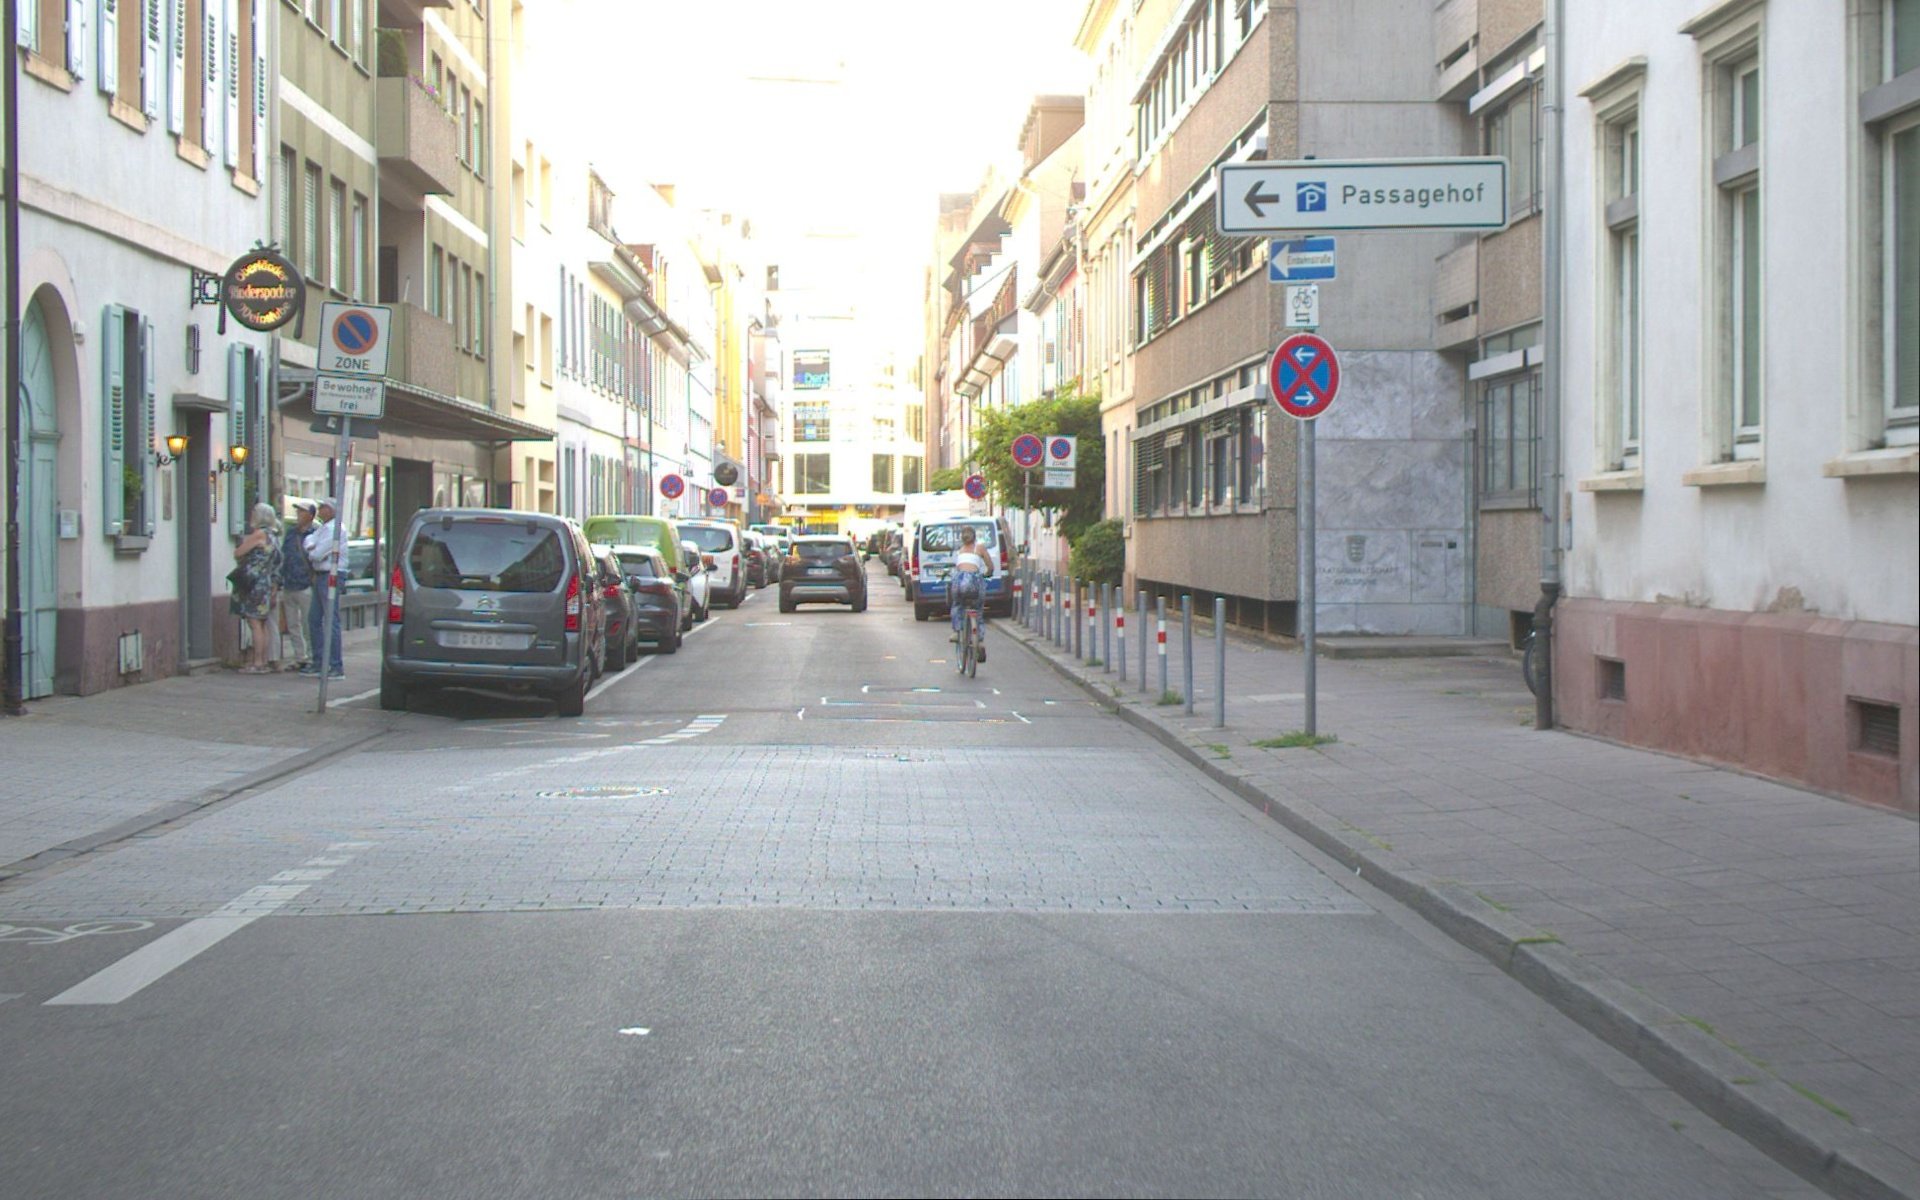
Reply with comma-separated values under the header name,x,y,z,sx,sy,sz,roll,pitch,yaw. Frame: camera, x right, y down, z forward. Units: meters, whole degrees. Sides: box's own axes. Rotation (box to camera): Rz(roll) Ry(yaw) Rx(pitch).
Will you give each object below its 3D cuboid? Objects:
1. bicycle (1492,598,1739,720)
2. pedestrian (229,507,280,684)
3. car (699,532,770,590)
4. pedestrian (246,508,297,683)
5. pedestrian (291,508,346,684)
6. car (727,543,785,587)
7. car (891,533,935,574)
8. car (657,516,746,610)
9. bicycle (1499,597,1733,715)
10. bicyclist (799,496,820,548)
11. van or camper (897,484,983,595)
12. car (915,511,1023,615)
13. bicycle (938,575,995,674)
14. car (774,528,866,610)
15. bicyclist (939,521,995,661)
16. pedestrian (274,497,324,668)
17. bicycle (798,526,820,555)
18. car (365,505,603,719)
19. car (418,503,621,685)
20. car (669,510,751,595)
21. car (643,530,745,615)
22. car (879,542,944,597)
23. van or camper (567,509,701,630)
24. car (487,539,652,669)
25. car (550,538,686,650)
name,x,y,z,sx,sy,sz,roll,pitch,yaw
bicycle,5.067,0.455,26.599,1.795,0.920,0.538,0,1,-9
pedestrian,-6.997,-0.046,34.099,0.406,1.744,0.470,1,1,0
car,-6.594,-1.159,100.720,1.803,1.671,4.490,0,1,0
pedestrian,-6.926,-0.052,34.594,0.406,1.744,0.470,1,1,0
pedestrian,-6.412,-0.044,34.364,0.449,1.744,0.470,1,1,0
car,-7.031,-1.228,118.535,1.918,1.429,4.294,1,1,-3
car,-1.871,-1.821,135.270,1.653,1.555,3.606,1,1,-1
car,-5.723,-0.844,76.542,1.862,2.007,5.107,0,1,-3
bicycle,5.226,0.445,27.418,1.739,0.920,0.538,0,1,-8
bicyclist,-4.811,-2.481,109.741,0.623,1.634,1.081,1,1,-1
van or camper,-0.507,-1.507,85.409,2.050,2.628,7.063,0,1,-1
car,0.135,-0.731,65.403,1.936,1.891,5.277,0,1,-1
bicycle,0.068,0.267,38.920,0.613,1.078,1.809,1,1,-1
car,-2.885,-0.650,71.336,1.819,1.612,4.000,1,1,-2
bicyclist,0.075,-0.107,38.969,0.621,1.569,0.683,1,1,0
pedestrian,-6.770,-0.182,35.211,0.406,1.744,0.470,1,1,0
bicycle,-4.820,-1.908,109.806,0.634,0.919,1.779,1,1,-1
car,-4.288,0.064,31.524,1.876,1.805,4.451,1,1,-5
car,-4.631,-0.097,36.649,1.772,1.805,4.511,1,1,-3
car,-6.039,-1.164,83.329,1.862,2.007,4.814,0,1,-3
car,-4.919,-0.519,63.925,1.662,1.444,3.521,3,1,-2
car,-1.457,-0.944,105.121,1.819,1.525,5.071,-3,1,0
van or camper,-5.123,-0.499,54.446,1.772,1.842,4.179,0,1,-1
car,-4.661,0.020,41.436,1.624,1.479,3.878,0,1,-1
car,-4.569,-0.105,46.374,1.624,1.411,3.981,1,1,-3
